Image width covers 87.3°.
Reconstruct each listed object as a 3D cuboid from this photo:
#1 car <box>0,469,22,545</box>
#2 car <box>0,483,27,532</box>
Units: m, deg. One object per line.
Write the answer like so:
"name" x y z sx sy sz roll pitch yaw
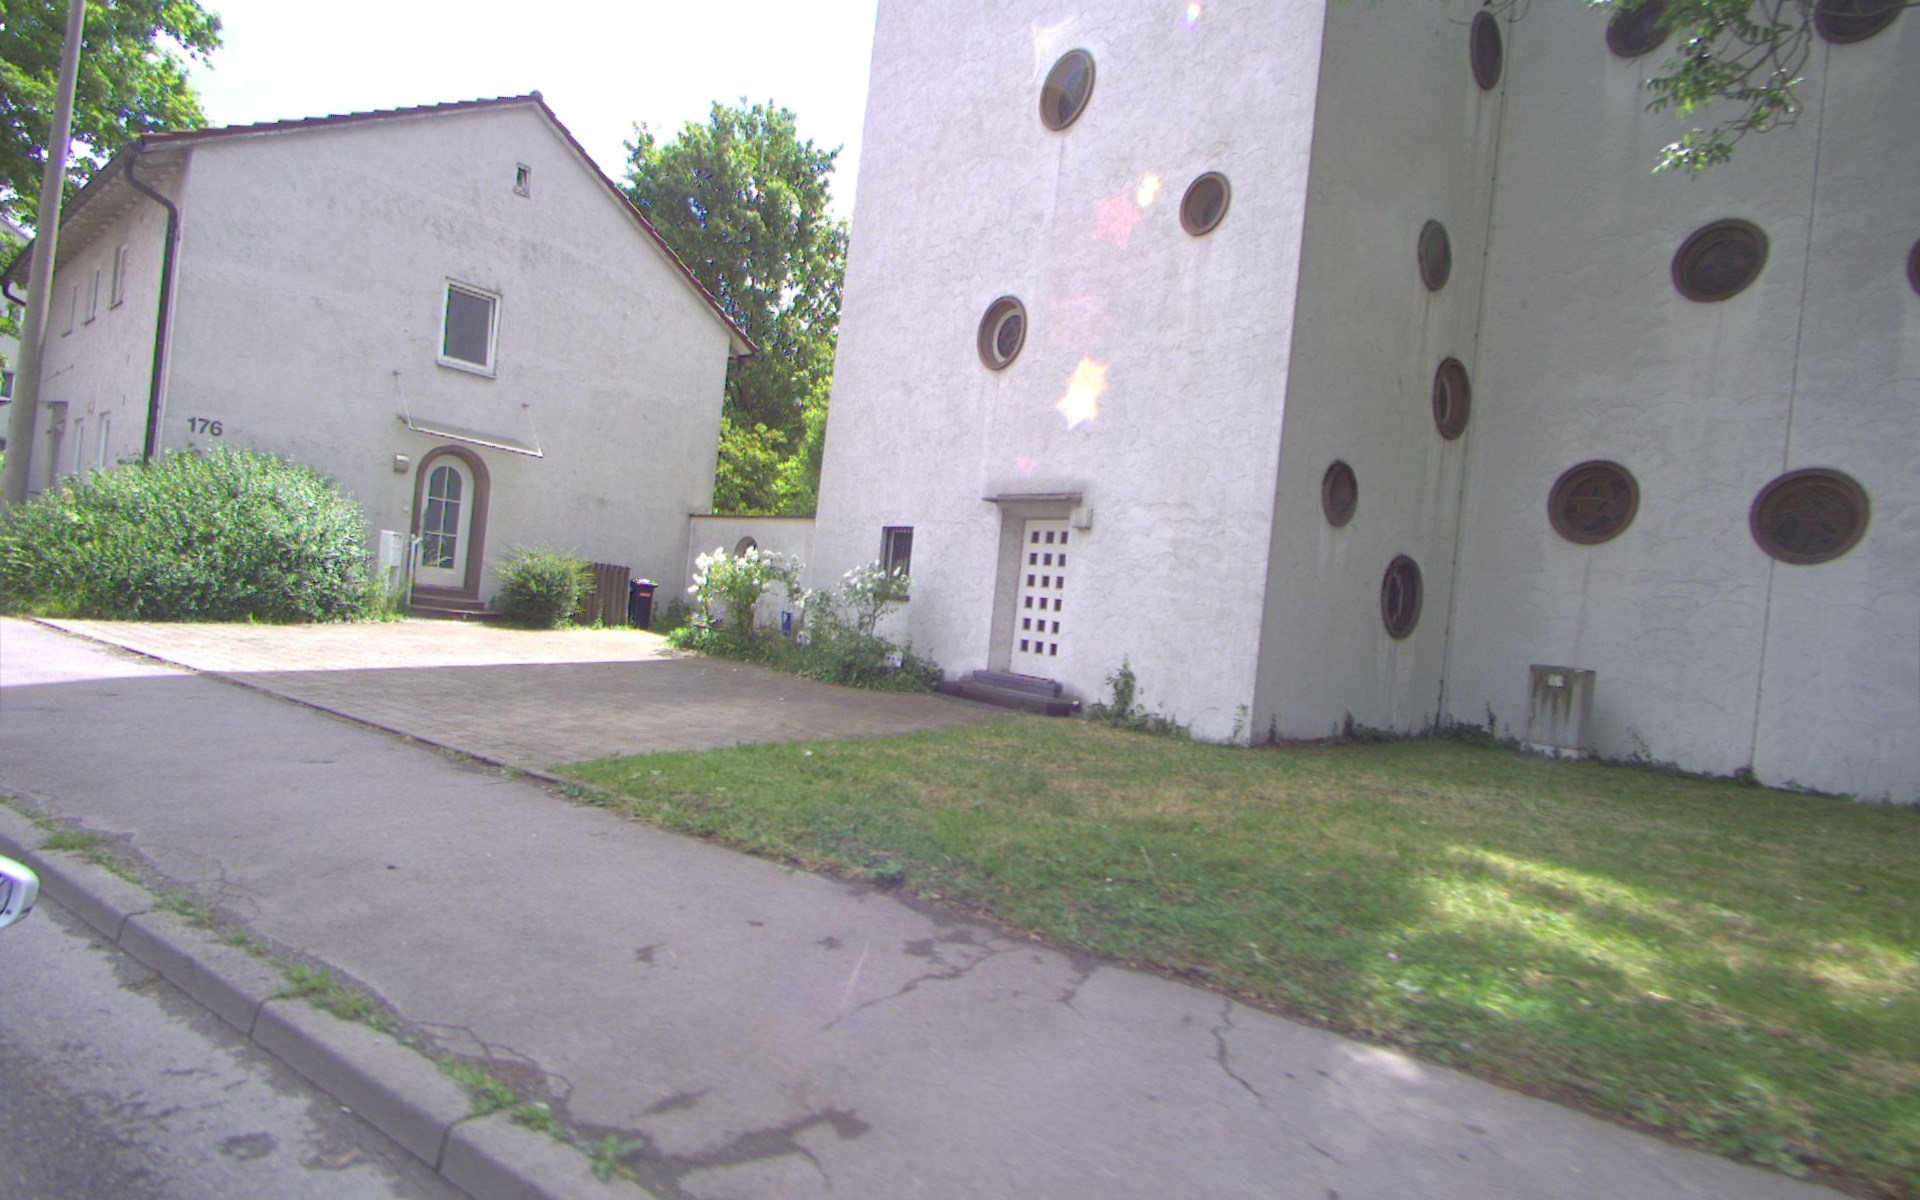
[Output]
"car" -23.402 -2.295 23.424 3.944 1.670 1.808 6 0 41
"car" -31.989 -3.130 33.121 3.644 1.499 1.658 6 1 45
